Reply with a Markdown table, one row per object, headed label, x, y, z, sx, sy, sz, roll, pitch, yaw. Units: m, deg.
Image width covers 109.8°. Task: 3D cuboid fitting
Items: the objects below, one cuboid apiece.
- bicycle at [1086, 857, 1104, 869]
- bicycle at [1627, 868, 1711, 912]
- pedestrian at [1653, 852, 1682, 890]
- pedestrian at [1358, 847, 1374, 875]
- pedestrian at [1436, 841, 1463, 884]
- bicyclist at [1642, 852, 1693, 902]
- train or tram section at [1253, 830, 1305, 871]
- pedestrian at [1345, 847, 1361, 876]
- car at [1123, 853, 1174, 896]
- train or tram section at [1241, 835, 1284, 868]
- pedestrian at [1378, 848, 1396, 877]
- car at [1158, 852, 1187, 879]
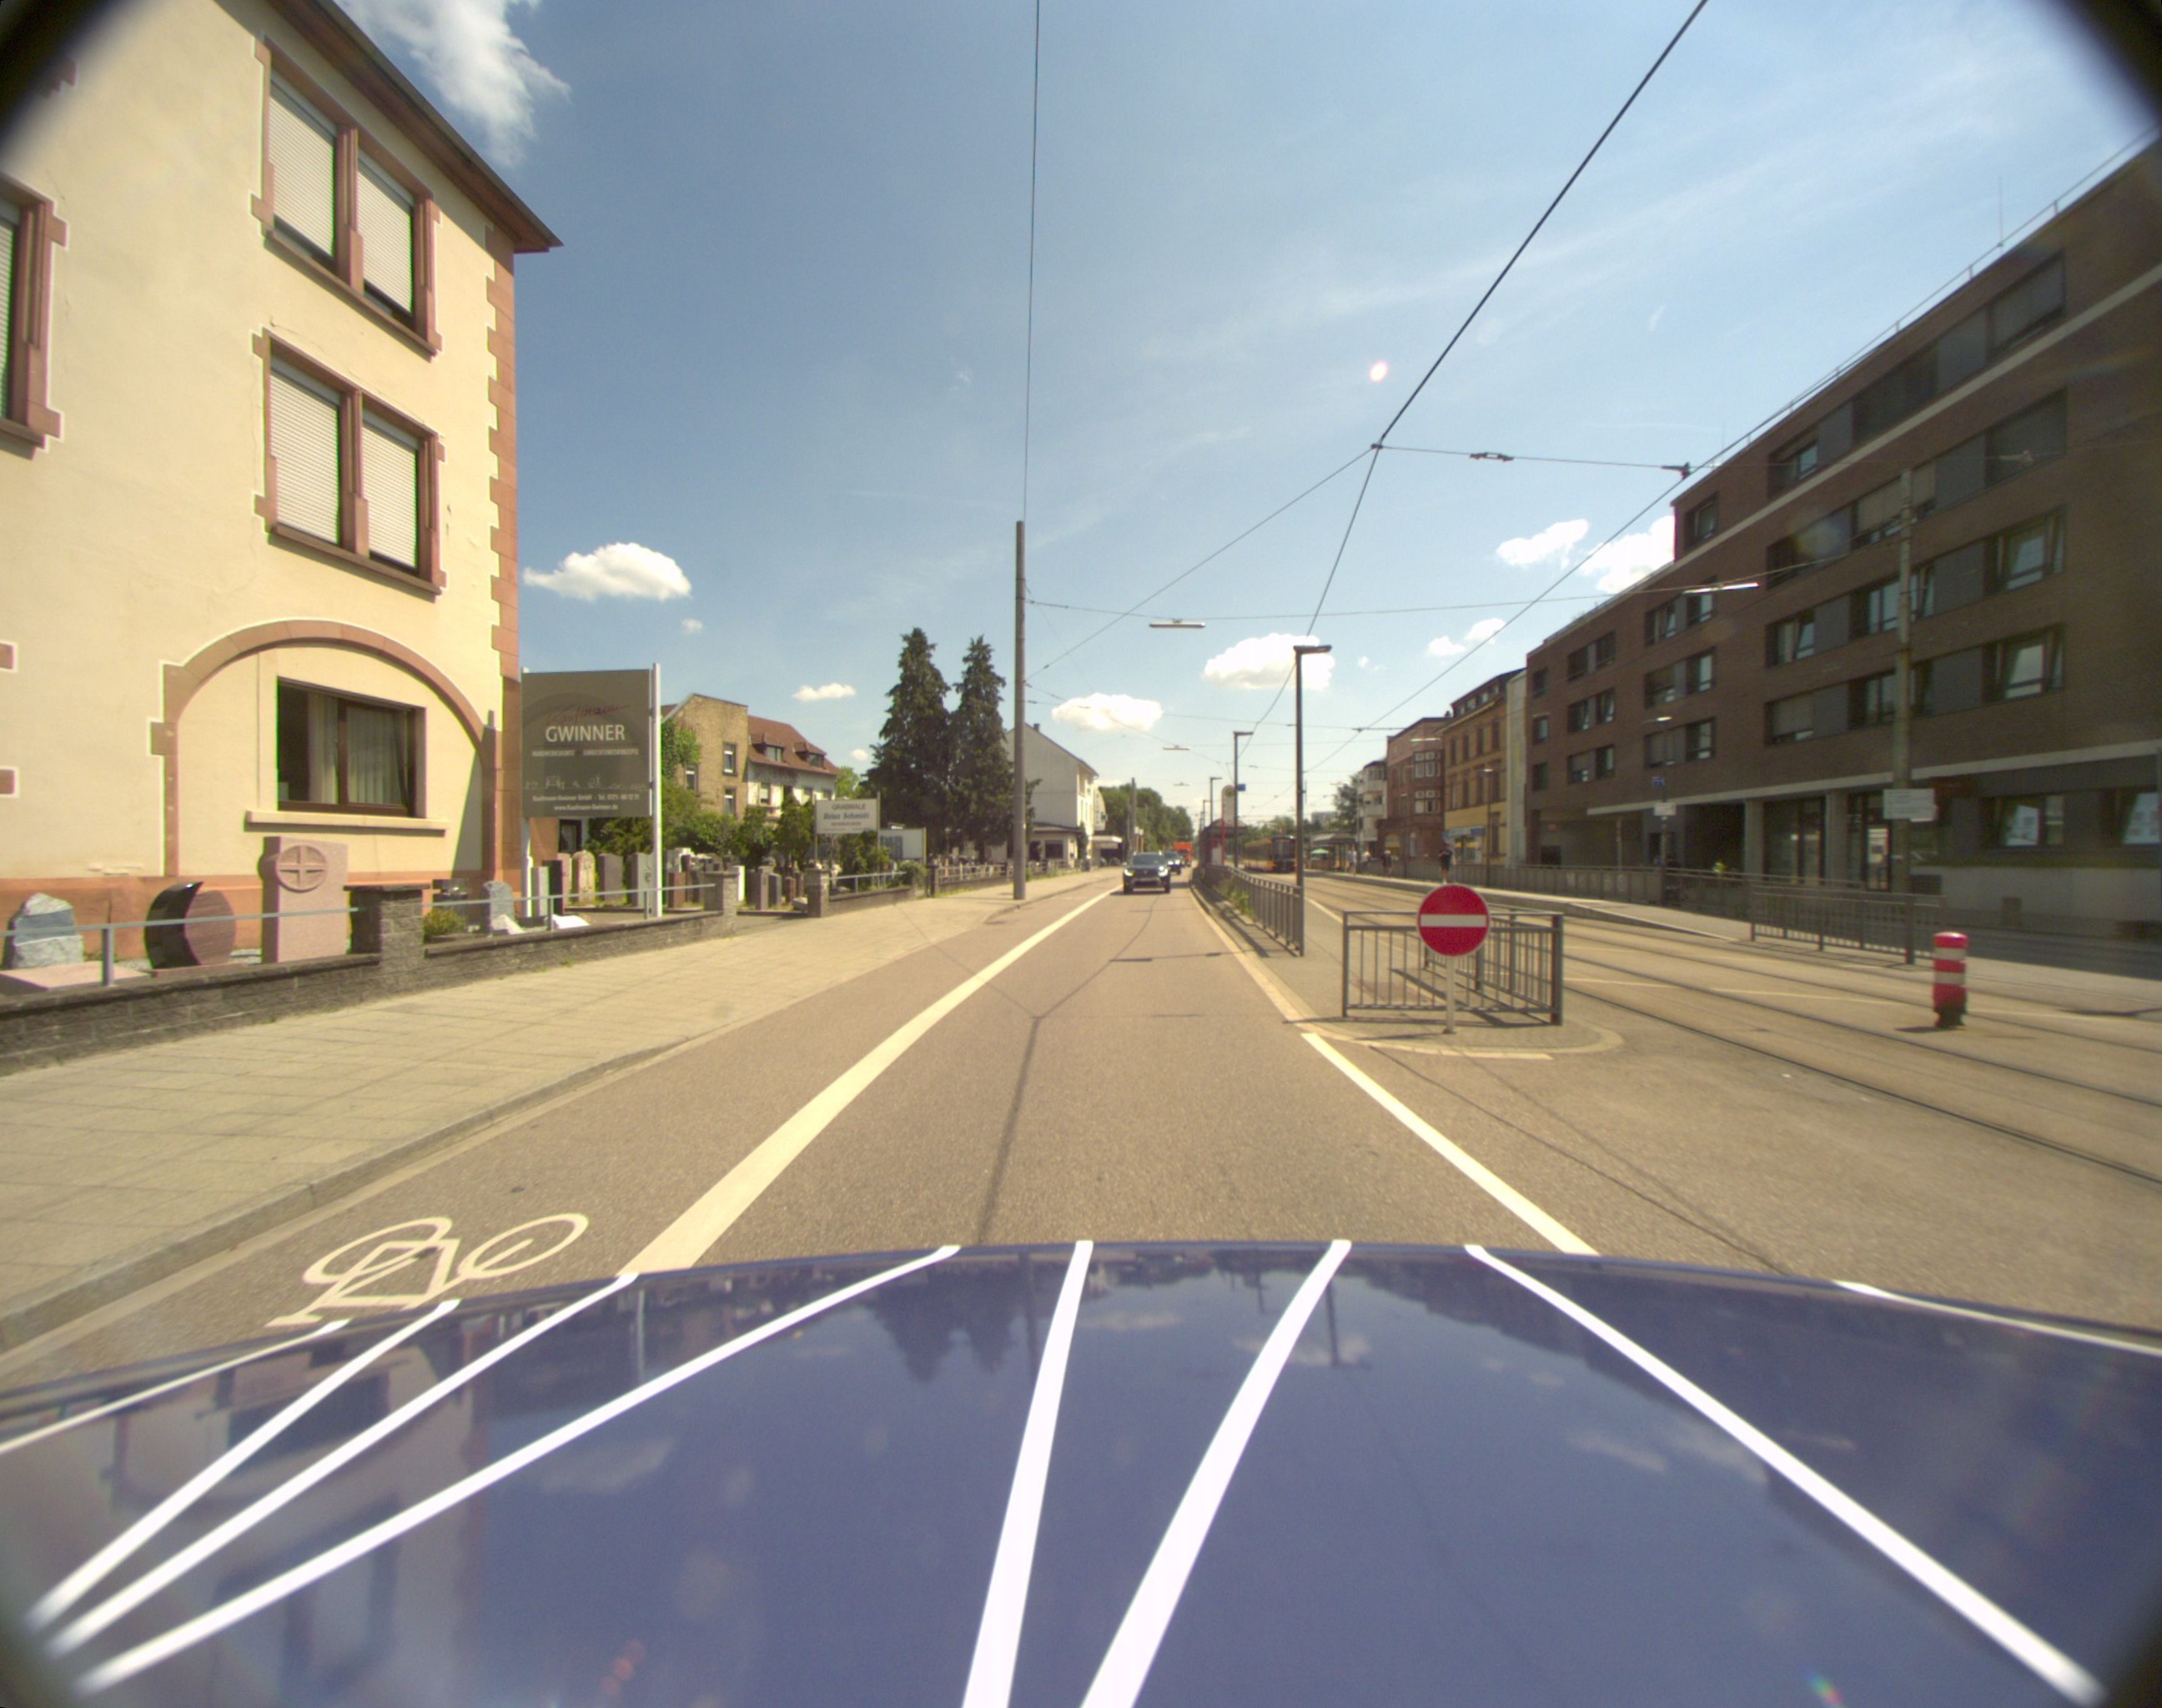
| label | x | y | z | sx | sy | sz | roll | pitch | yaw |
| --- | --- | --- | --- | --- | --- | --- | --- | --- | --- |
| bicycle | 1.325 | 0.806 | 70.710 | 1.534 | 1.080 | 0.430 | 2 | 1 | 15 |
| bicycle | 17.855 | 1.050 | 23.153 | 0.818 | 1.215 | 2.390 | 1 | 0 | 5 |
| pedestrian | 25.096 | 0.711 | 32.532 | 0.686 | 1.587 | 0.761 | 1 | 1 | 8 |
| pedestrian | 17.720 | 0.437 | 47.201 | 0.761 | 1.685 | 0.809 | 1 | 1 | 8 |
| pedestrian | 15.398 | 0.360 | 31.756 | 0.686 | 1.750 | 1.034 | 1 | 1 | 8 |
| bicyclist | 17.857 | 0.687 | 23.156 | 0.760 | 1.495 | 1.065 | 0 | 1 | 3 |
| train or tram section | 19.024 | -0.348 | 74.092 | 3.241 | 3.546 | 16.359 | 0 | 0 | 9 |
| pedestrian | 17.119 | 0.454 | 47.794 | 0.761 | 1.789 | 0.952 | 1 | 1 | 8 |
| car | 2.621 | 0.751 | 30.393 | 1.845 | 1.565 | 4.488 | 0 | 1 | 3 |
| train or tram section | 21.729 | -0.356 | 92.191 | 3.256 | 3.546 | 20.513 | 0 | 0 | 9 |
| pedestrian | 16.714 | 0.462 | 41.510 | 0.686 | 1.587 | 0.761 | 1 | 1 | 8 |
| car | 7.010 | 0.828 | 57.682 | 1.997 | 2.002 | 4.003 | 0 | 0 | 9 |
